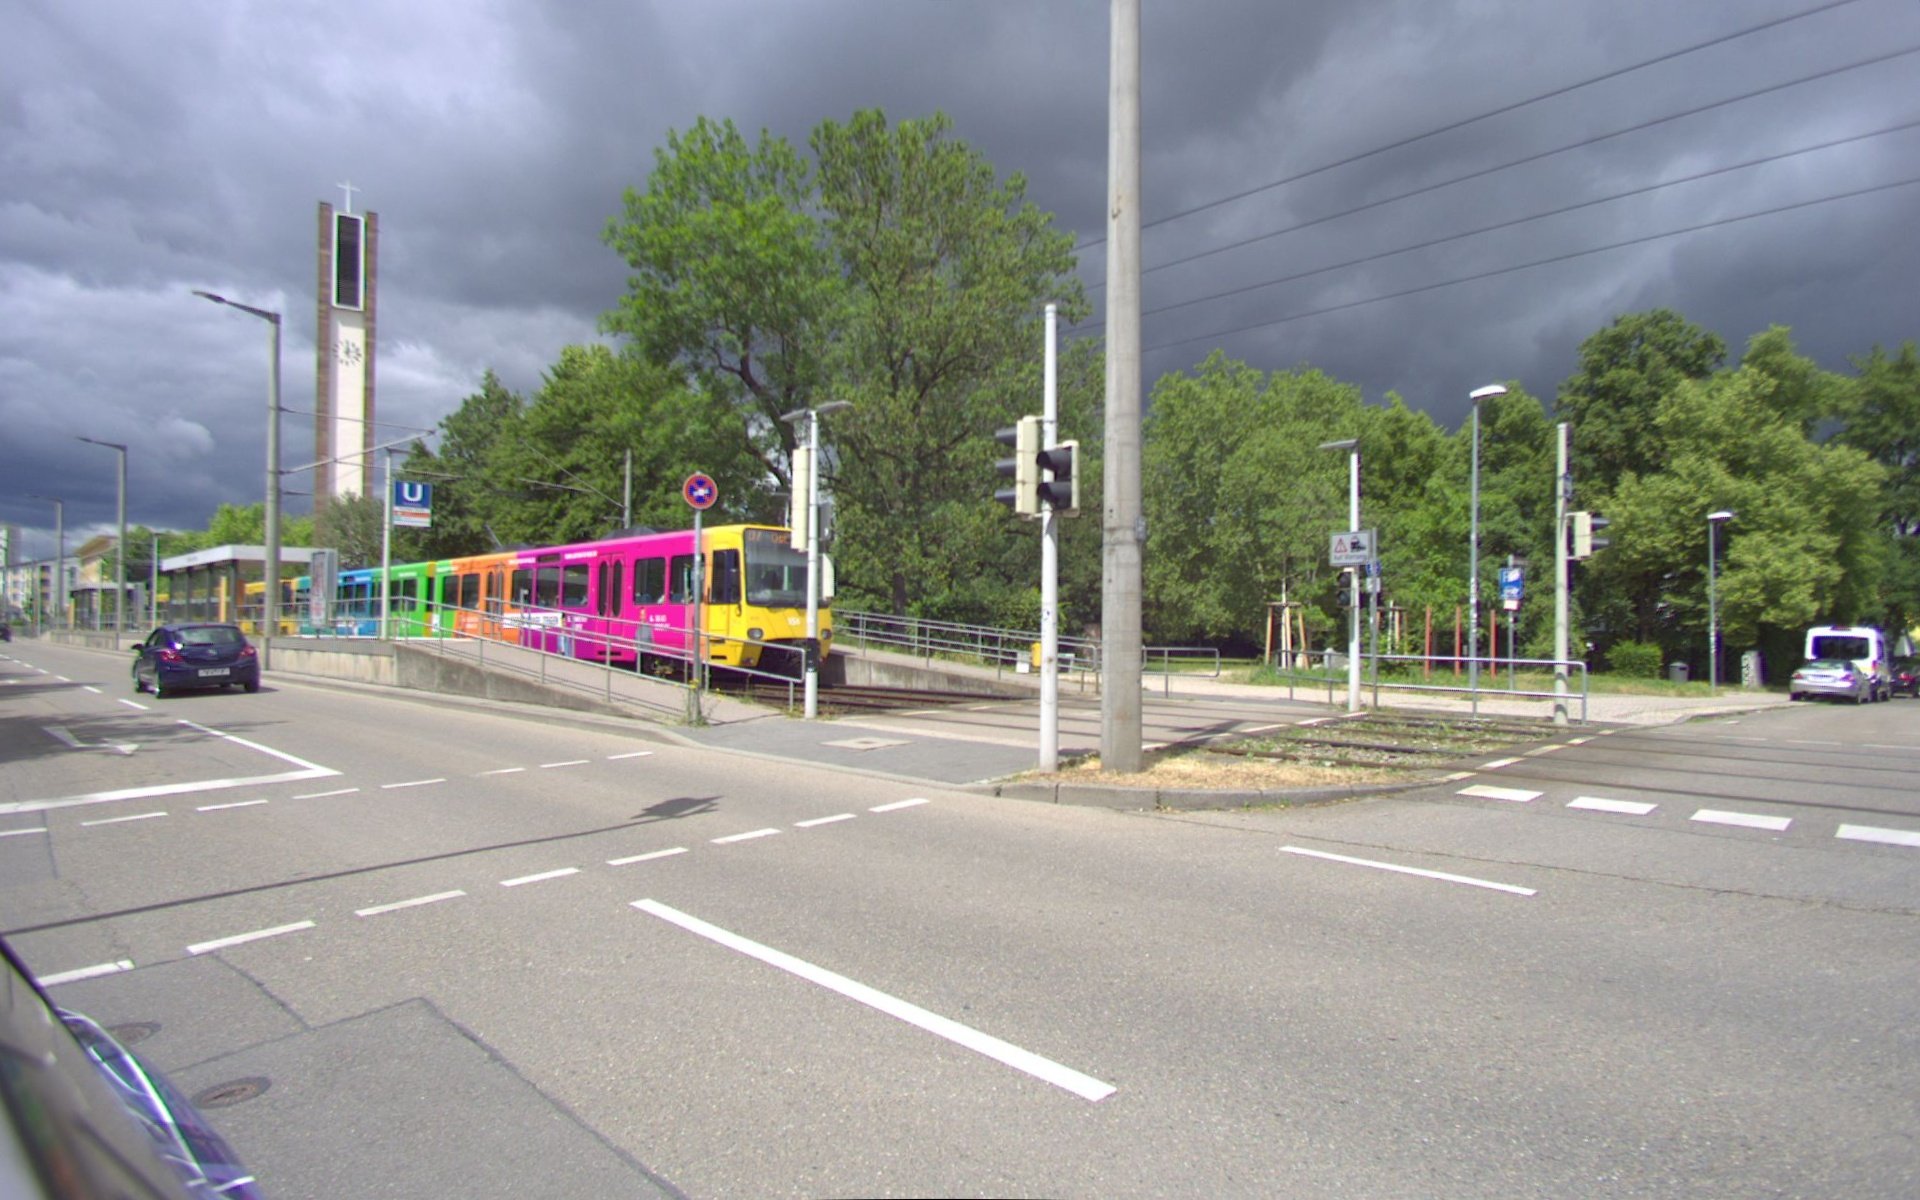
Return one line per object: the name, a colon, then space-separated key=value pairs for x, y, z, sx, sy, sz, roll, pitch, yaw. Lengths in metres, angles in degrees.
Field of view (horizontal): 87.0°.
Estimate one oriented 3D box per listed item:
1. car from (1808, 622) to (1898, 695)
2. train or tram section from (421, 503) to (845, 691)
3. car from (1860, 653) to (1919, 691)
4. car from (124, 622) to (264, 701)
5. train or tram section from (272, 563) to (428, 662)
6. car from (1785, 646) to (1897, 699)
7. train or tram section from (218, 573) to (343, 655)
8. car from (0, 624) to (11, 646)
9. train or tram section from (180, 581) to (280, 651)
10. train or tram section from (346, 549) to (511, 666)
car: x=31.514 y=2.092 z=35.701 sx=3.939 sy=2.375 sz=2.002 roll=6 pitch=-4 yaw=-43
train or tram section: x=-10.332 y=0.076 z=28.479 sx=18.542 sy=3.892 sz=2.947 roll=-1 pitch=0 yaw=44
car: x=40.863 y=3.157 z=44.173 sx=3.939 sy=1.478 sz=2.002 roll=6 pitch=-4 yaw=-43
car: x=-16.006 y=1.208 z=21.084 sx=4.009 sy=1.452 sz=1.699 roll=-1 pitch=-1 yaw=43
train or tram section: x=-27.262 y=0.554 z=44.868 sx=11.789 sy=3.892 sz=2.947 roll=-1 pitch=0 yaw=44
car: x=28.155 y=2.325 z=32.320 sx=3.935 sy=1.478 sz=2.004 roll=5 pitch=-4 yaw=-38
train or tram section: x=-35.898 y=0.750 z=53.161 sx=12.203 sy=3.892 sz=2.947 roll=-1 pitch=0 yaw=44
car: x=-75.598 y=2.743 z=79.261 sx=1.731 sy=1.624 sz=4.229 roll=0 pitch=-1 yaw=-44
train or tram section: x=-44.339 y=0.941 z=61.280 sx=11.109 sy=3.892 sz=2.947 roll=-1 pitch=0 yaw=44
train or tram section: x=-20.036 y=0.296 z=37.845 sx=8.380 sy=3.892 sz=2.947 roll=-1 pitch=0 yaw=44
